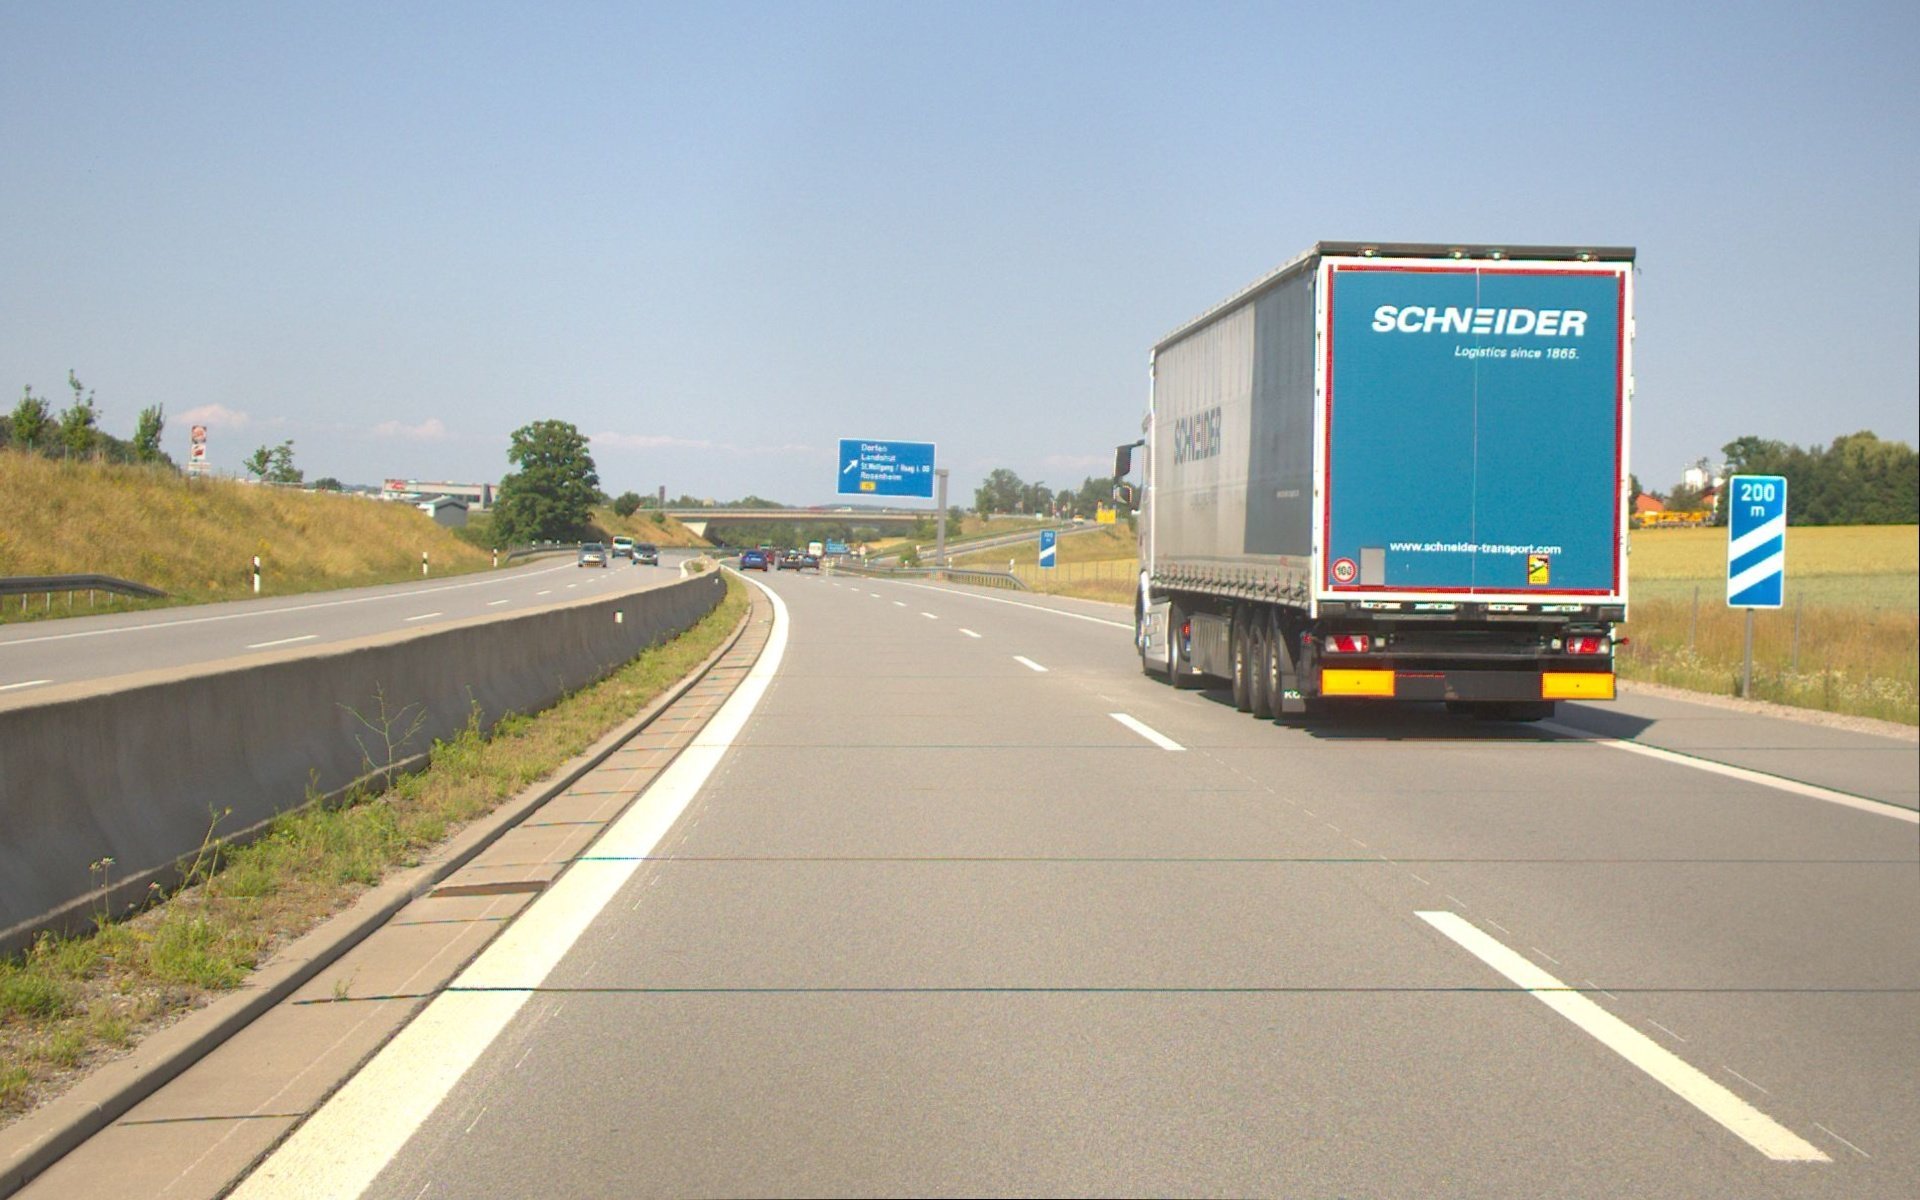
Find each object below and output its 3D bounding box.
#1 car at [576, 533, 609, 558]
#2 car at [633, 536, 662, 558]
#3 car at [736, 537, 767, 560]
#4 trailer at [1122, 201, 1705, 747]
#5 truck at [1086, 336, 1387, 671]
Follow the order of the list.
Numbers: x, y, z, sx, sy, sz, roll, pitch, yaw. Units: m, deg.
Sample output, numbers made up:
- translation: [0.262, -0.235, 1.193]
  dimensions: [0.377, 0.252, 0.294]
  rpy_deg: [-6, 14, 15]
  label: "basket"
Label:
- translation: [-22.424, -3.331, 209.942]
  dimensions: [1.879, 1.497, 4.566]
  rpy_deg: [0, 1, -5]
  label: "car"
- translation: [-22.867, -3.908, 251.529]
  dimensions: [1.879, 1.570, 4.567]
  rpy_deg: [-1, 1, -7]
  label: "car"
- translation: [-14.192, -3.538, 234.029]
  dimensions: [1.993, 1.546, 4.001]
  rpy_deg: [0, 1, -2]
  label: "car"
- translation: [3.924, -1.128, 34.718]
  dimensions: [3.176, 4.279, 15.462]
  rpy_deg: [0, 1, -3]
  label: "trailer"
- translation: [3.439, -1.229, 44.421]
  dimensions: [3.082, 4.000, 6.190]
  rpy_deg: [0, 1, -3]
  label: "truck"
